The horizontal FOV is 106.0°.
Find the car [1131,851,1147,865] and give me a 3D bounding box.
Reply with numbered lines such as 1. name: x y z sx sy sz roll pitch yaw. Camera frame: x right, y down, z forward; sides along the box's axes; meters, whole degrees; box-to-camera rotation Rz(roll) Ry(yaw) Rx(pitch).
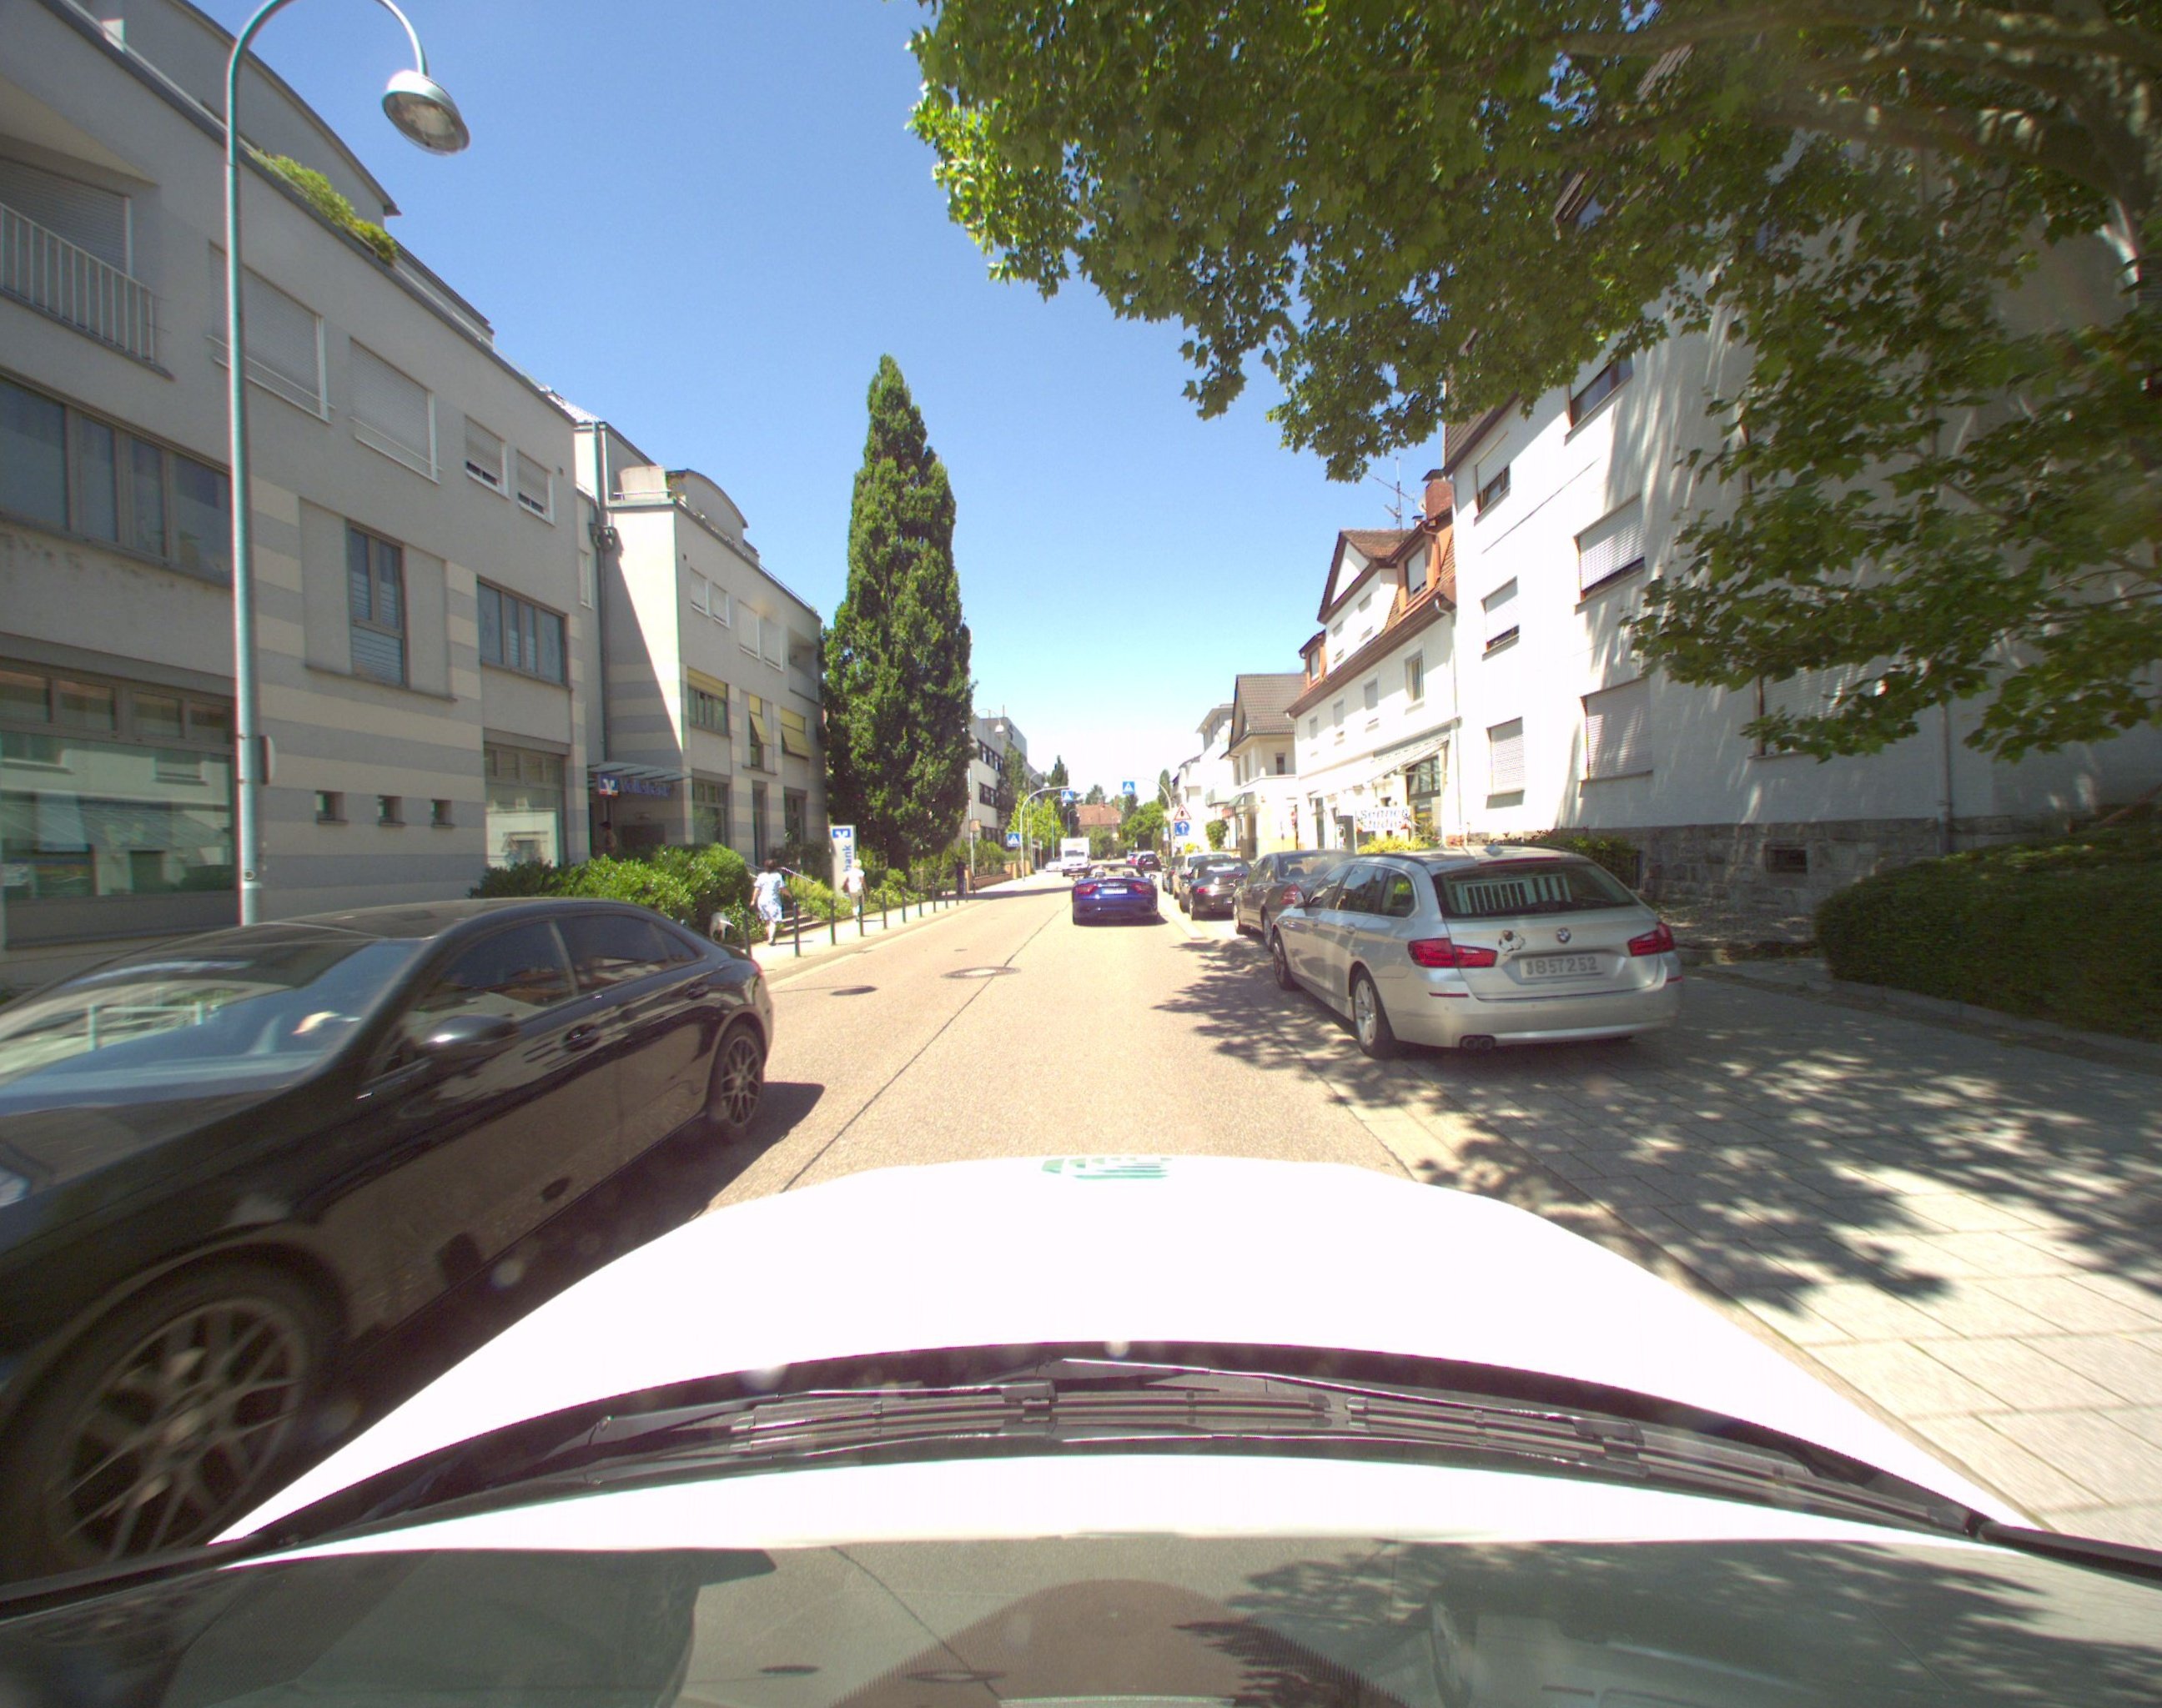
1. car: 6.511 0.465 91.888 1.597 1.440 3.856 -5 0 3

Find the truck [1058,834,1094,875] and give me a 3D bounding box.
1. truck: -0.330 0.049 65.370 2.410 2.983 6.261 -3 0 2

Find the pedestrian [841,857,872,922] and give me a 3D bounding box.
1. pedestrian: -5.921 0.926 21.492 0.534 1.685 0.709 -2 0 2

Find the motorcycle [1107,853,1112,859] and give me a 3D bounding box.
1. motorcycle: 5.549 0.479 158.591 0.694 1.107 1.795 -4 0 10

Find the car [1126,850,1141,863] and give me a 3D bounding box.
1. car: 6.972 0.296 108.801 1.836 1.619 4.430 -4 0 3

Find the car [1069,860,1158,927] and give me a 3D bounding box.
1. car: 0.776 0.834 19.377 1.819 1.337 4.703 -1 0 2

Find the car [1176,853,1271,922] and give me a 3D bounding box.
1. car: 3.224 0.704 19.139 1.552 1.340 4.175 -4 0 2

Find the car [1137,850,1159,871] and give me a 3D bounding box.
1. car: 5.714 0.493 70.075 1.698 1.666 4.583 -3 0 3

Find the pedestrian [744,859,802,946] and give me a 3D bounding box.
1. pedestrian: -6.071 0.942 16.108 0.746 1.645 0.848 -3 0 0

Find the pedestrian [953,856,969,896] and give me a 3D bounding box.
1. pedestrian: -5.149 0.918 34.941 0.534 1.685 0.709 -2 0 2

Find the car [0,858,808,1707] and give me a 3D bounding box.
1. car: -2.822 0.845 3.267 1.822 1.511 4.264 -3 0 2

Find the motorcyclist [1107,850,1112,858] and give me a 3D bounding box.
1. motorcyclist: 5.502 0.023 158.500 0.694 1.433 0.709 -4 0 10

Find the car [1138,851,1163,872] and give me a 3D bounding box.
1. car: 5.408 0.566 64.178 1.698 1.556 4.751 -3 0 3

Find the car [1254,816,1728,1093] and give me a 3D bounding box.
1. car: 2.915 0.596 7.172 1.822 1.511 4.761 -4 0 2

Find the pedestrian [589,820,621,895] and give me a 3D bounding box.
1. pedestrian: -11.364 0.087 19.454 0.584 1.739 0.605 -2 -1 -34

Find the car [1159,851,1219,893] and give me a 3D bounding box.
1. car: 4.127 0.652 31.811 1.820 1.426 4.703 -4 0 2

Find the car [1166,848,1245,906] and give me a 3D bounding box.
1. car: 3.679 0.634 24.775 1.737 1.468 4.854 -5 0 2

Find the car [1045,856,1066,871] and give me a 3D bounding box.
1. car: -2.668 0.949 84.657 1.815 1.411 4.580 -1 0 2
